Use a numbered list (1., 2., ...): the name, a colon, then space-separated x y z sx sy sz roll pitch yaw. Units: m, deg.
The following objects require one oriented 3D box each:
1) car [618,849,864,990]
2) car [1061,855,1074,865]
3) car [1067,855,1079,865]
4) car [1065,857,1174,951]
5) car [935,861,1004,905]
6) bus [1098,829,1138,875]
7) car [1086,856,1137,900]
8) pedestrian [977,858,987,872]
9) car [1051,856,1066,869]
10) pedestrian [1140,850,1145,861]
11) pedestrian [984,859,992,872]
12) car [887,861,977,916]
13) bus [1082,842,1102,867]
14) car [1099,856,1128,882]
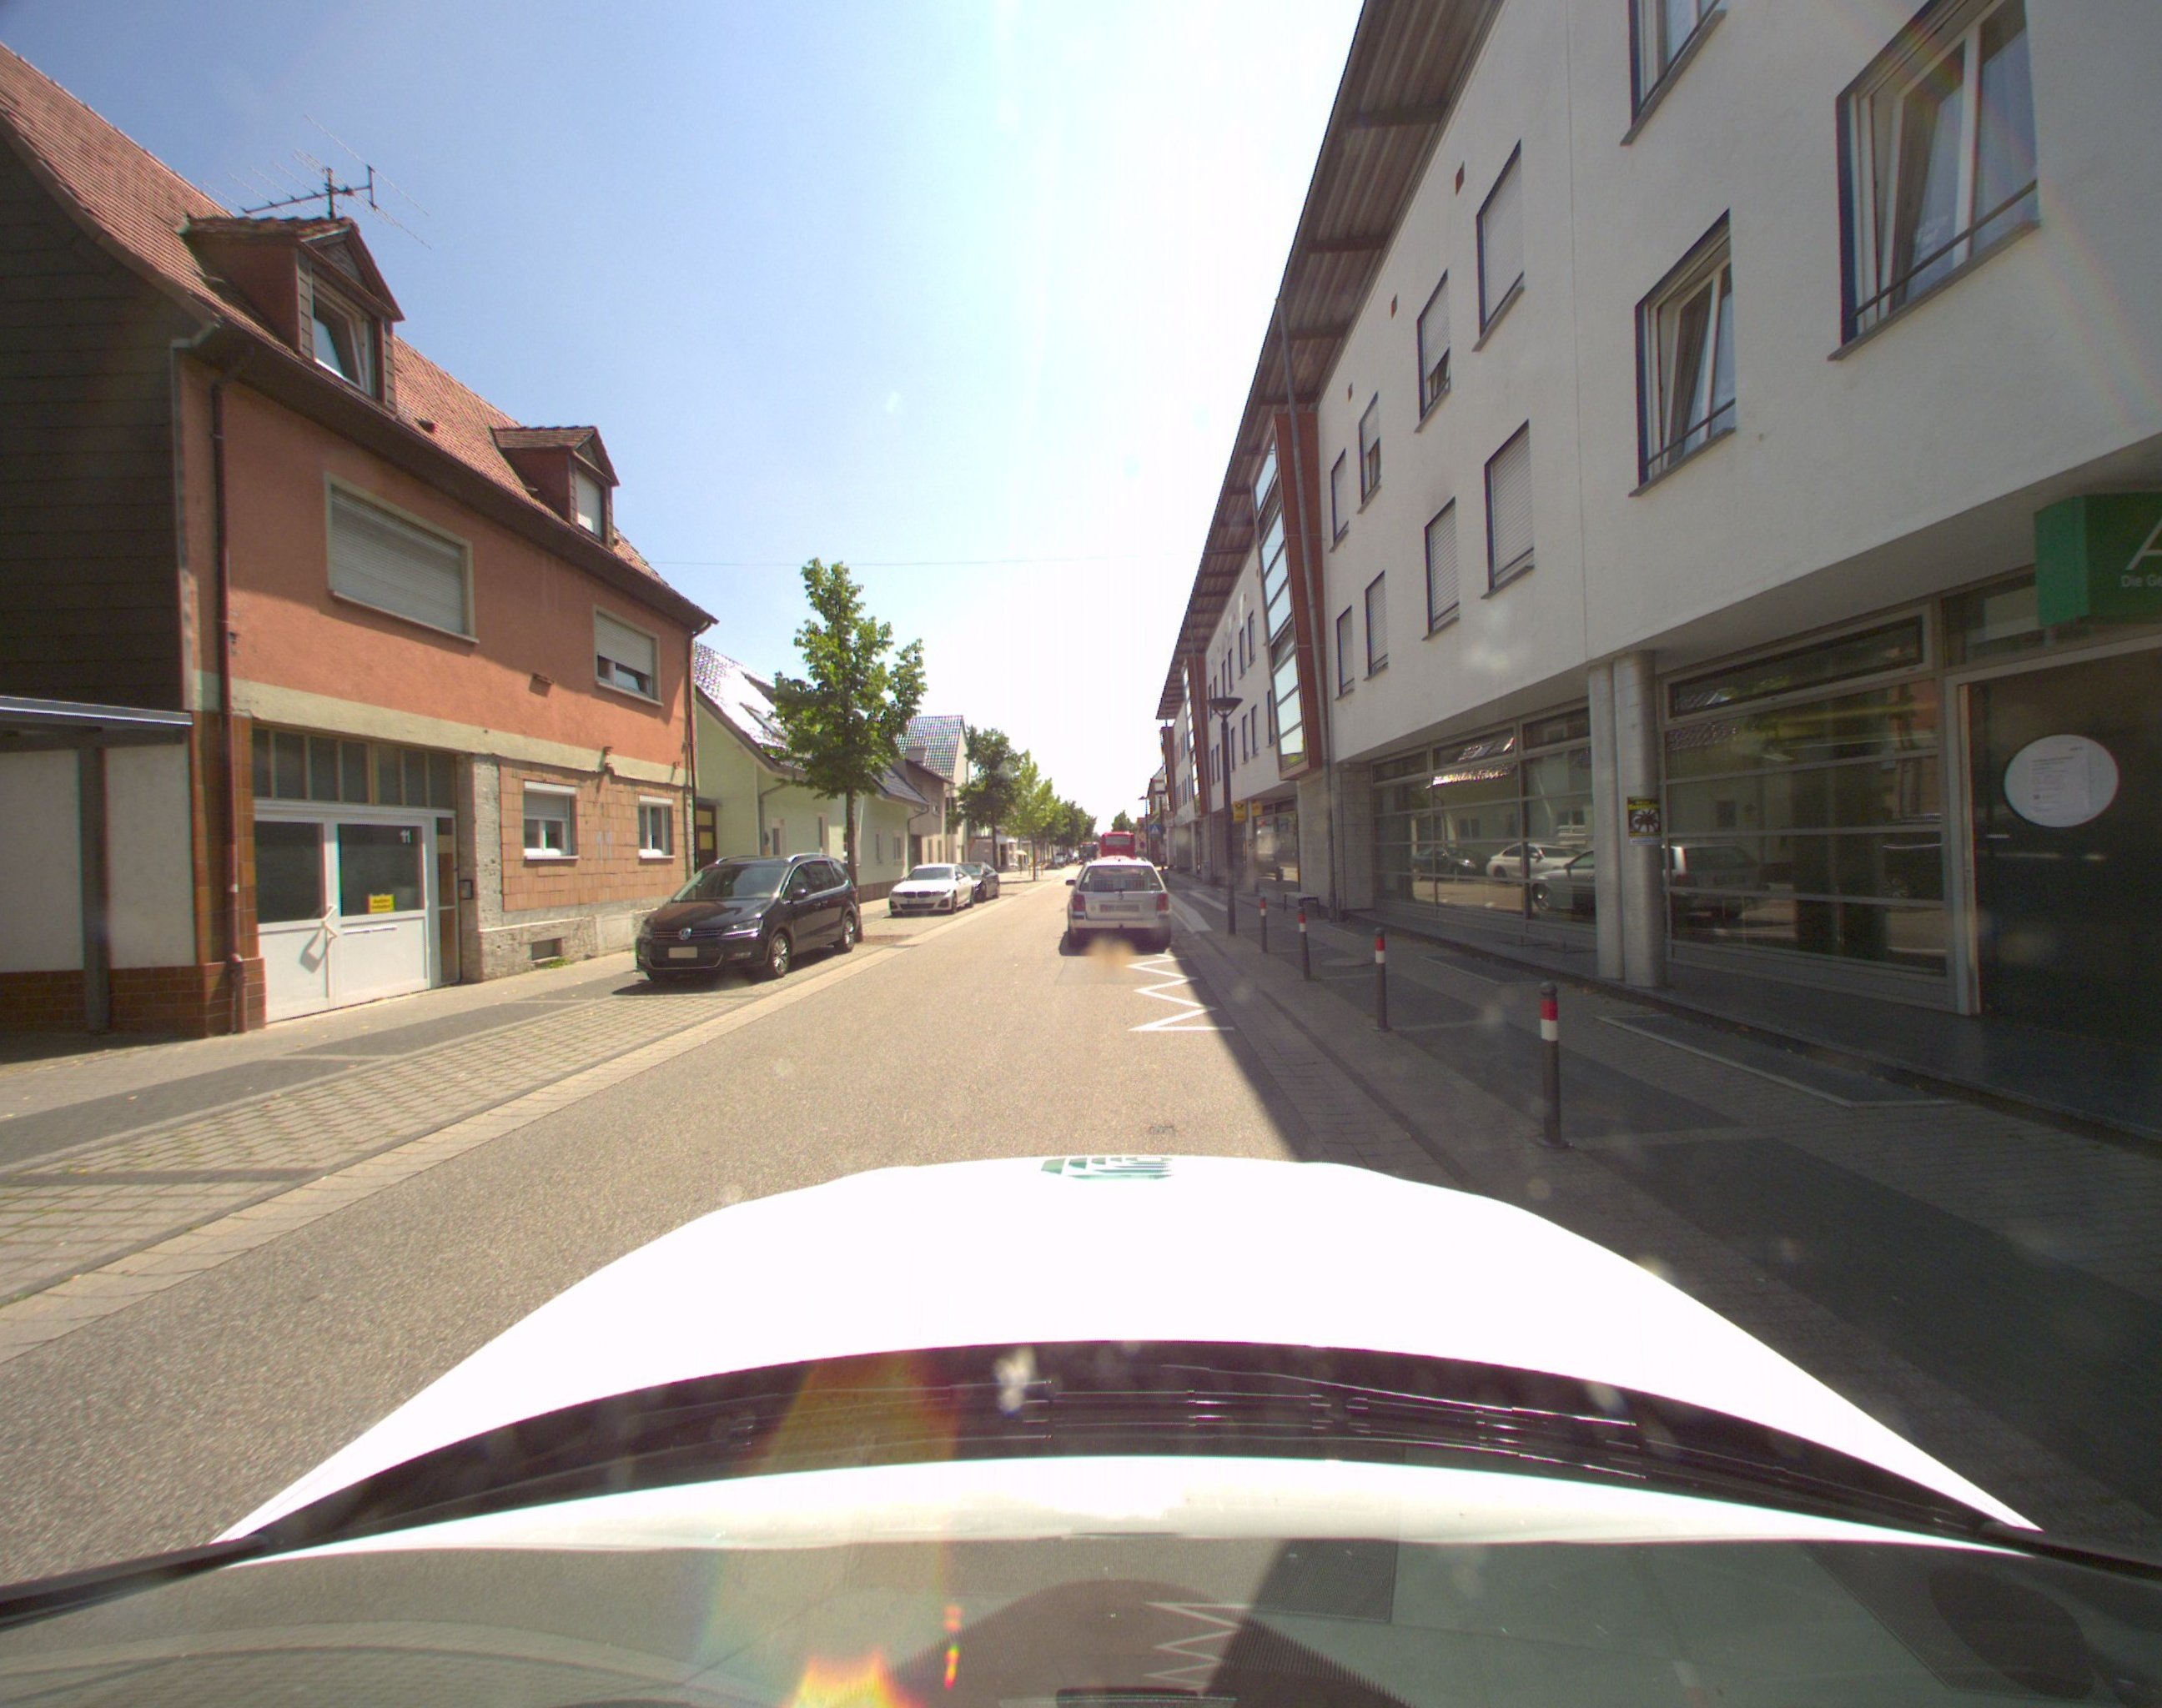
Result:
1. car: -4.907 0.827 12.560 1.769 1.726 4.520 -2 0 1
2. car: -2.126 0.934 126.075 1.804 1.559 4.002 -2 0 2
3. car: -1.250 0.961 132.165 1.804 1.559 4.002 -2 0 2
4. car: 0.671 0.776 14.480 1.670 1.430 3.681 1 0 2
5. car: -4.067 1.007 30.293 1.654 1.437 4.542 -2 0 3
6. bus: 2.773 -0.113 64.972 2.731 3.298 12.706 -1 0 1
7. car: 1.068 0.778 28.501 1.670 1.430 3.681 0 0 2
8. pedestrian: -9.043 1.025 74.322 0.639 1.289 0.780 1 -1 -41
9. car: -2.704 1.021 98.940 1.599 1.438 4.067 -2 0 2
10. pedestrian: 9.205 0.240 121.274 0.604 1.667 0.789 -2 0 0
11. pedestrian: -8.672 1.083 75.748 0.620 1.179 0.696 -2 0 -2
12. car: -4.405 0.986 24.734 1.713 1.437 4.462 -1 0 2
13. bus: 1.499 -0.069 120.615 2.660 3.123 17.806 -2 1 0
14. car: 1.913 0.840 47.146 1.587 1.430 3.682 -1 0 3
